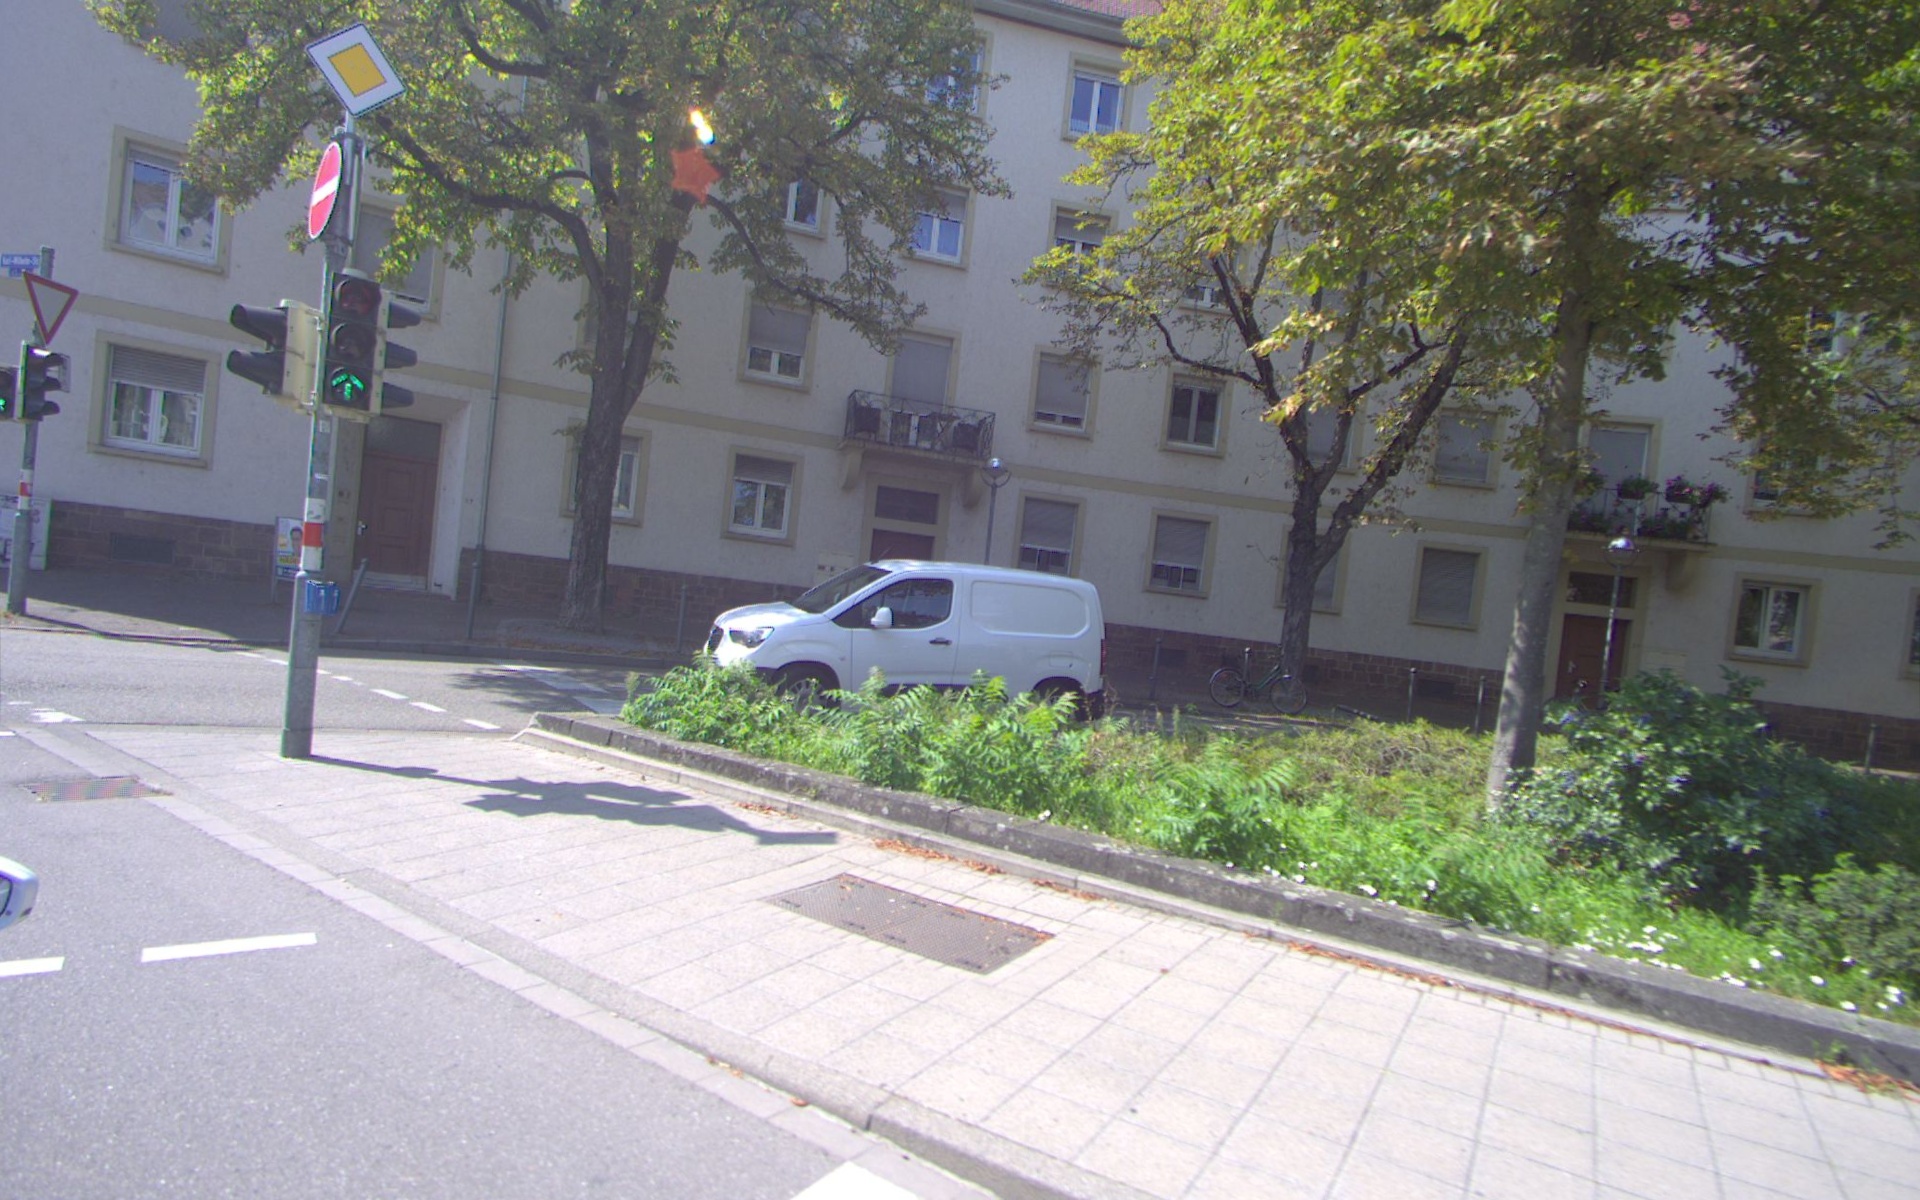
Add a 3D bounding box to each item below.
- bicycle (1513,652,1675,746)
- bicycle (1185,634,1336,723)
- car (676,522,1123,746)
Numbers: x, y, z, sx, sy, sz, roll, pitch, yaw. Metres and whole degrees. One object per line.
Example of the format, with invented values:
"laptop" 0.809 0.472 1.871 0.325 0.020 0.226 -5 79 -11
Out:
"bicycle" 11.891 1.830 18.970 2.310 1.427 0.891 6 0 20
"bicycle" 4.998 1.298 16.887 2.225 1.141 0.810 7 4 10
"car" -0.667 0.394 10.878 4.355 1.835 1.795 6 1 -22
